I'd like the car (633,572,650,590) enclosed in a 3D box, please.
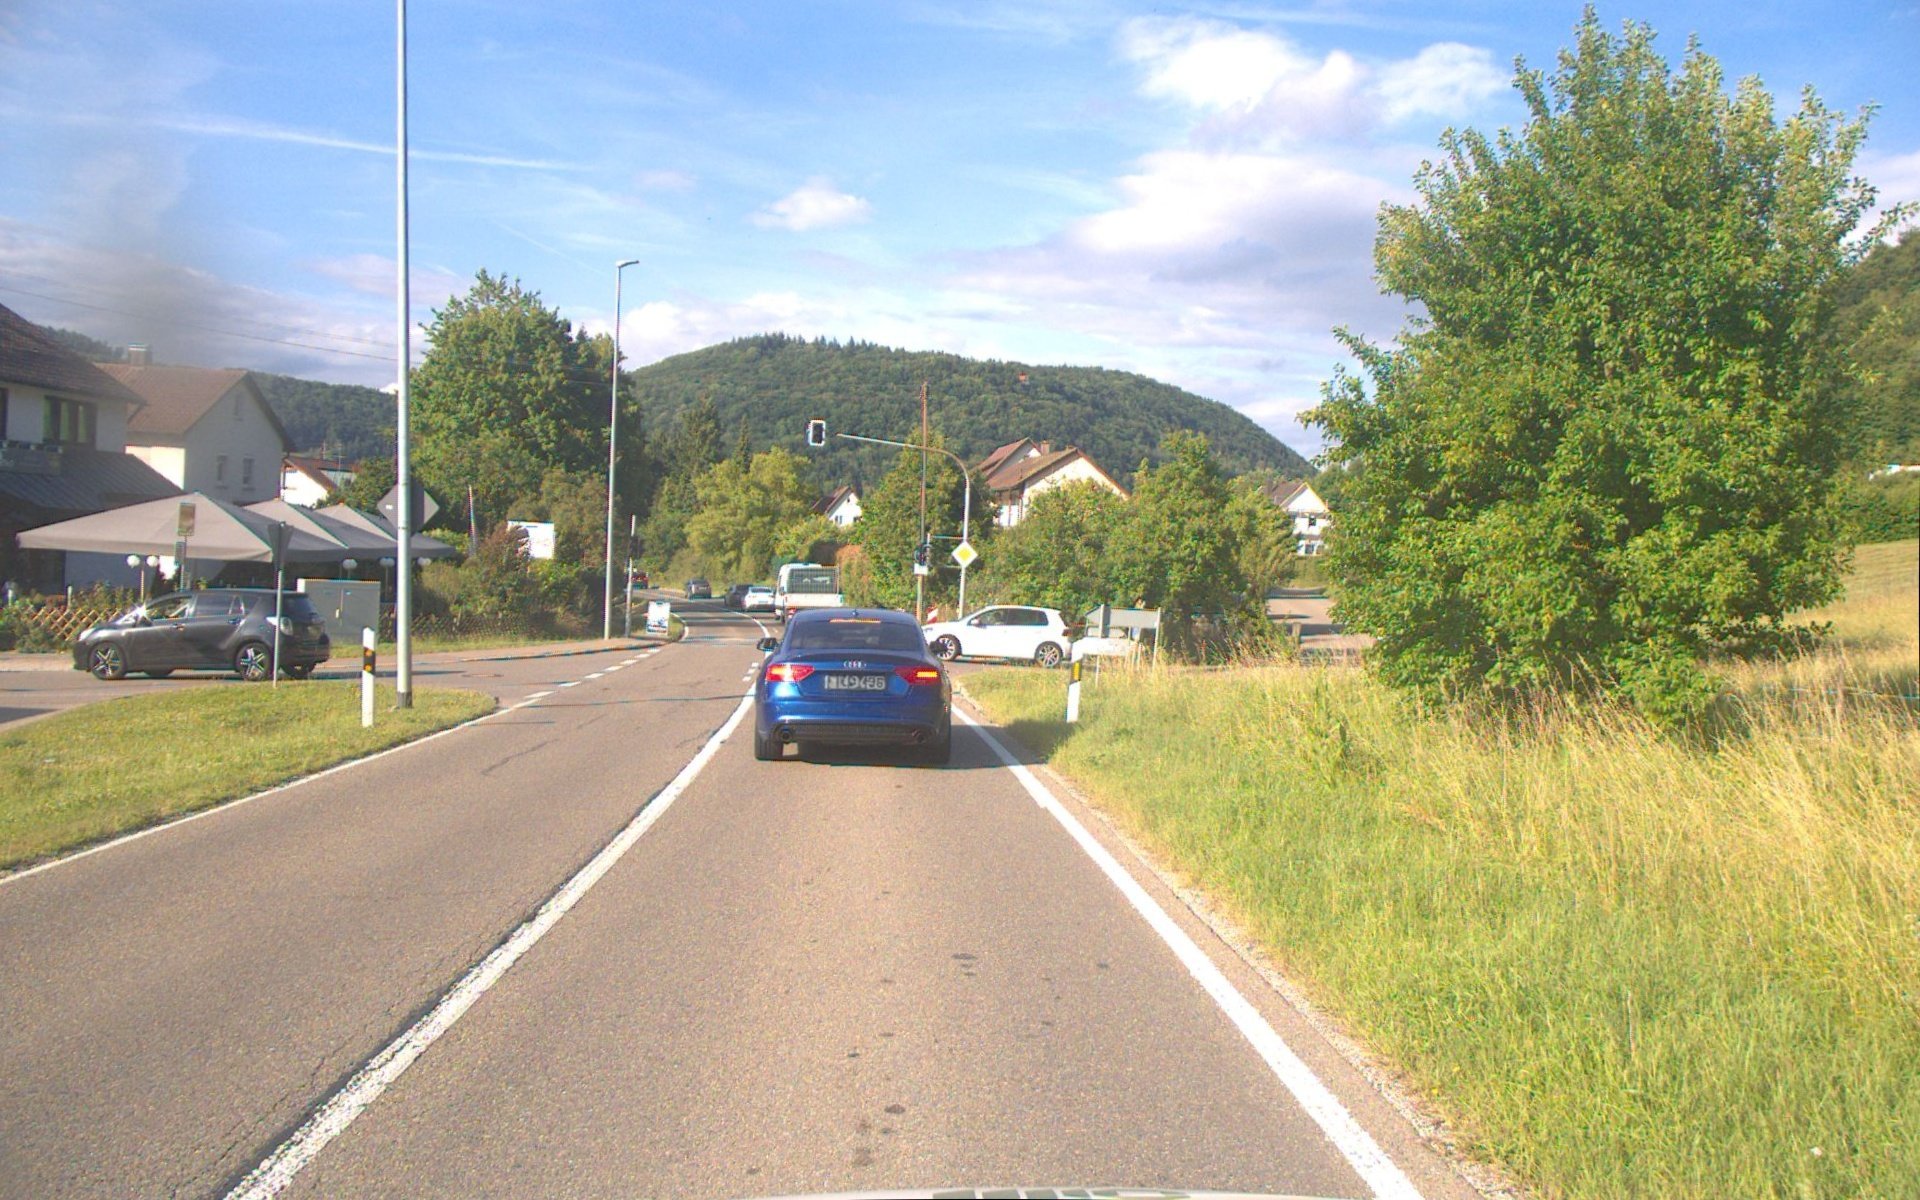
[{"bbox_3d":[-30.724,-1.811,159.563,1.596,1.604,3.670,1,-1,-10],"label":"car"}]

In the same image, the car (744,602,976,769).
[{"bbox_3d":[-0.835,0.753,16.088,1.757,1.412,4.002,0,-1,4],"label":"car"}]

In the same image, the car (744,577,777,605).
[{"bbox_3d":[-11.247,-0.484,93.295,1.666,1.516,3.518,1,-1,-10],"label":"car"}]

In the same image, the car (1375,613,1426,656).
[{"bbox_3d":[15.202,1.184,57.169,1.588,1.414,4.003,1,-1,14],"label":"car"}]

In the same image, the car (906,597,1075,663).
[{"bbox_3d":[0.735,0.748,41.501,3.969,1.534,1.851,1,-1,-9],"label":"car"}]

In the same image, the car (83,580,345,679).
[{"bbox_3d":[-13.474,0.525,30.013,3.904,1.668,1.752,1,-1,2],"label":"car"}]

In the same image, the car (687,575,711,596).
[{"bbox_3d":[-19.874,-1.115,125.897,1.665,1.516,3.521,1,-1,-7],"label":"car"}]

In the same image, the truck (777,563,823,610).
[{"bbox_3d":[-7.362,-0.577,75.910,1.666,1.988,5.908,1,-1,-10],"label":"truck"}]

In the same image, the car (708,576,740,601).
[{"bbox_3d":[-14.947,-0.709,104.525,1.668,1.516,3.515,1,-1,-13],"label":"car"}]

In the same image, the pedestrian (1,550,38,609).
[{"bbox_3d":[-24.656,-0.539,43.370,0.596,1.529,0.590,1,-1,-1],"label":"pedestrian"}]

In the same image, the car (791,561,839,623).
[{"bbox_3d":[-5.455,-0.286,62.437,1.712,2.234,3.996,1,-1,-5],"label":"car"}]
